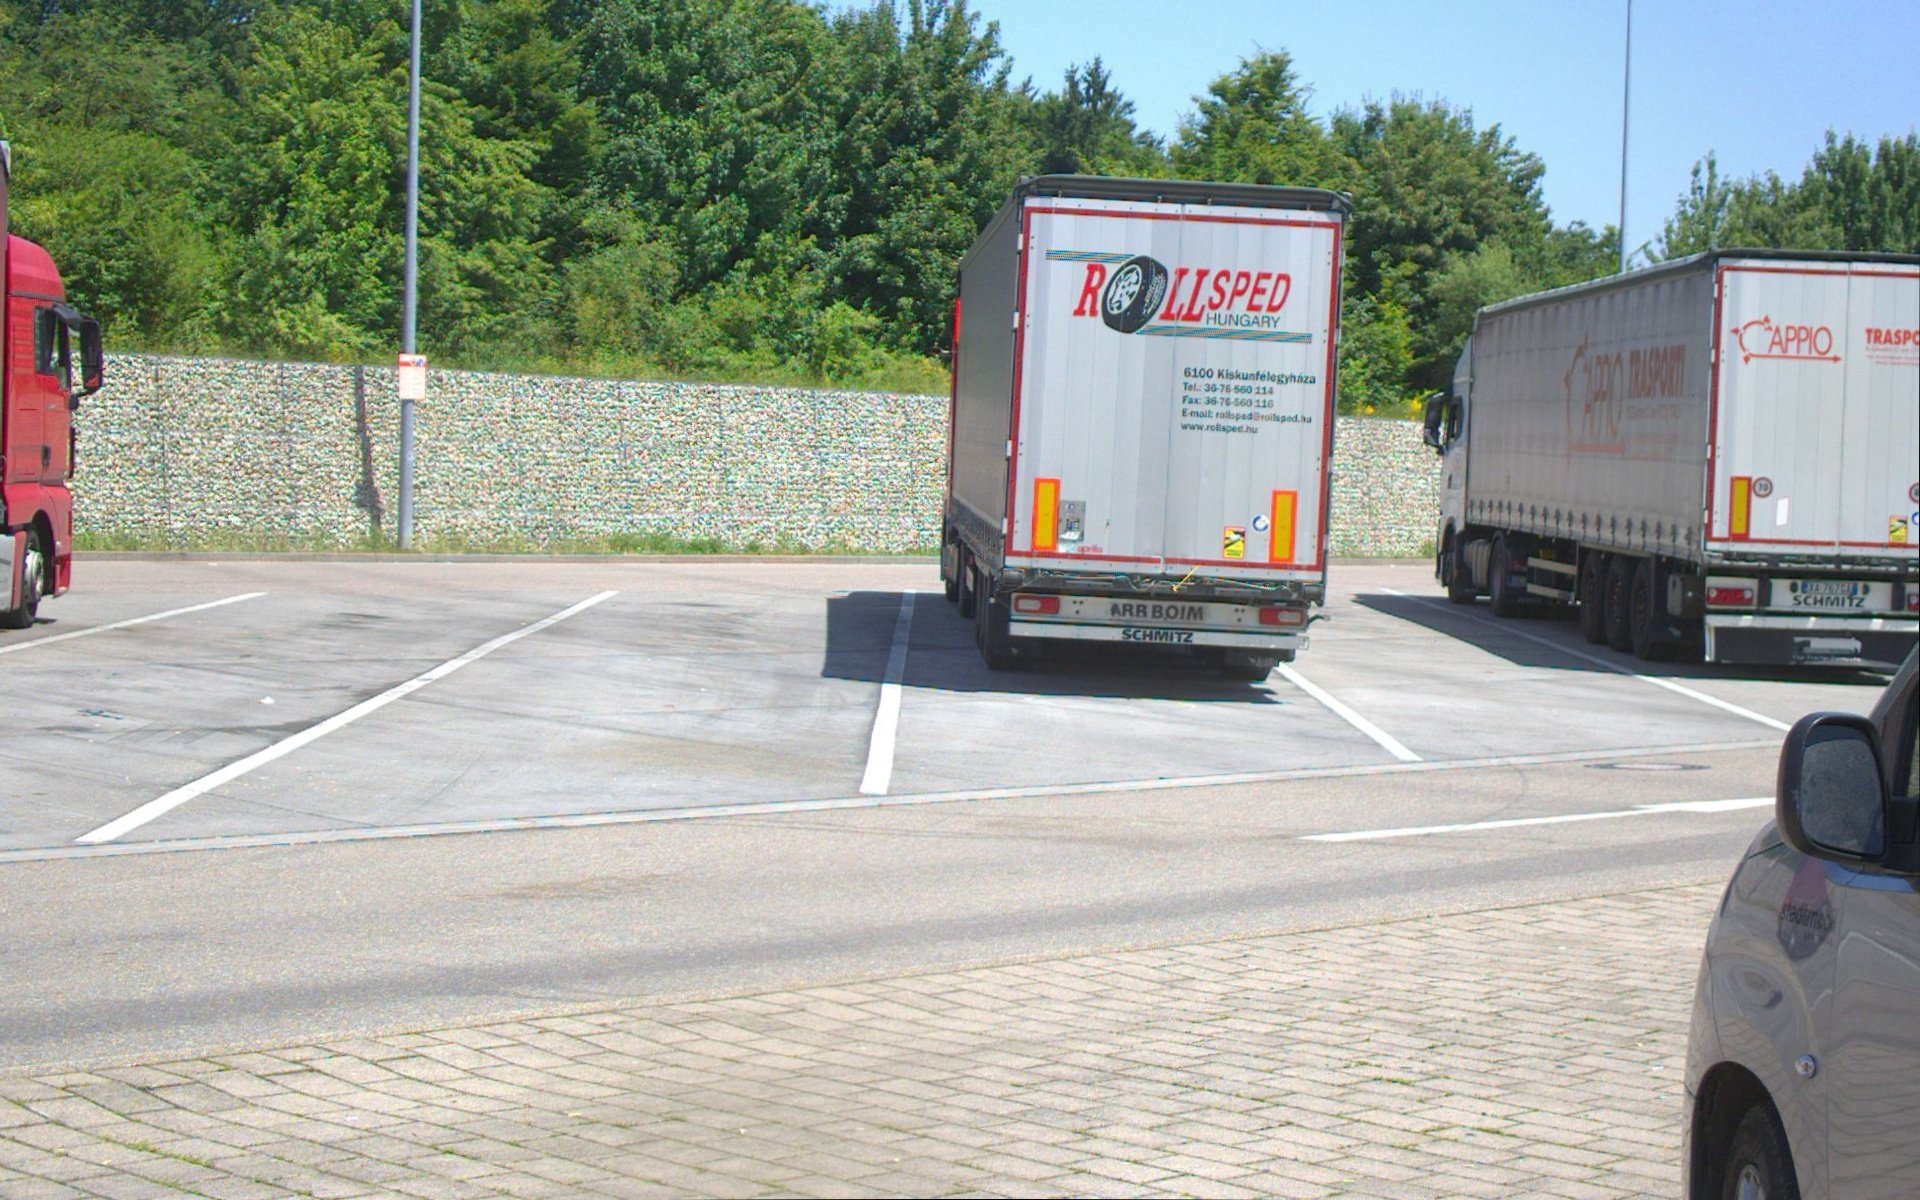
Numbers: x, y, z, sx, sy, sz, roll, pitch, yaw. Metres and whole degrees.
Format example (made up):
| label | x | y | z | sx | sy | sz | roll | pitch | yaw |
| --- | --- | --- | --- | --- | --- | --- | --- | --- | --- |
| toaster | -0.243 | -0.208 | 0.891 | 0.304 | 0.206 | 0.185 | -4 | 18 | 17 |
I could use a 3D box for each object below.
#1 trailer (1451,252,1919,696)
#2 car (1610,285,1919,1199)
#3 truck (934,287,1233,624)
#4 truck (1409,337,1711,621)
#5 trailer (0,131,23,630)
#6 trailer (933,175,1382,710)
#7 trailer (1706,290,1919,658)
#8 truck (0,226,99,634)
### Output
| label | x | y | z | sx | sy | sz | roll | pitch | yaw |
| --- | --- | --- | --- | --- | --- | --- | --- | --- | --- |
| trailer | 8.123 | -1.522 | 38.706 | 2.811 | 3.976 | 14.396 | 2 | 3 | -1 |
| car | 2.150 | 0.588 | 3.826 | 1.869 | 1.857 | 4.177 | 2 | 2 | -2 |
| truck | 1.320 | -1.732 | 40.487 | 3.103 | 3.554 | 5.900 | 2 | 3 | -1 |
| truck | 8.033 | -1.698 | 46.806 | 2.862 | 3.509 | 5.900 | 2 | 3 | -1 |
| trailer | -9.190 | -1.482 | 21.548 | 2.791 | 4.071 | 14.133 | 2 | 3 | -1 |
| trailer | 1.455 | -1.590 | 33.595 | 3.133 | 3.976 | 14.397 | 2 | 3 | -1 |
| trailer | 11.765 | -1.455 | 39.757 | 2.811 | 3.976 | 14.396 | 2 | 3 | -1 |
| truck | -9.232 | -1.437 | 28.122 | 2.851 | 3.316 | 5.900 | 2 | 3 | -1 |
